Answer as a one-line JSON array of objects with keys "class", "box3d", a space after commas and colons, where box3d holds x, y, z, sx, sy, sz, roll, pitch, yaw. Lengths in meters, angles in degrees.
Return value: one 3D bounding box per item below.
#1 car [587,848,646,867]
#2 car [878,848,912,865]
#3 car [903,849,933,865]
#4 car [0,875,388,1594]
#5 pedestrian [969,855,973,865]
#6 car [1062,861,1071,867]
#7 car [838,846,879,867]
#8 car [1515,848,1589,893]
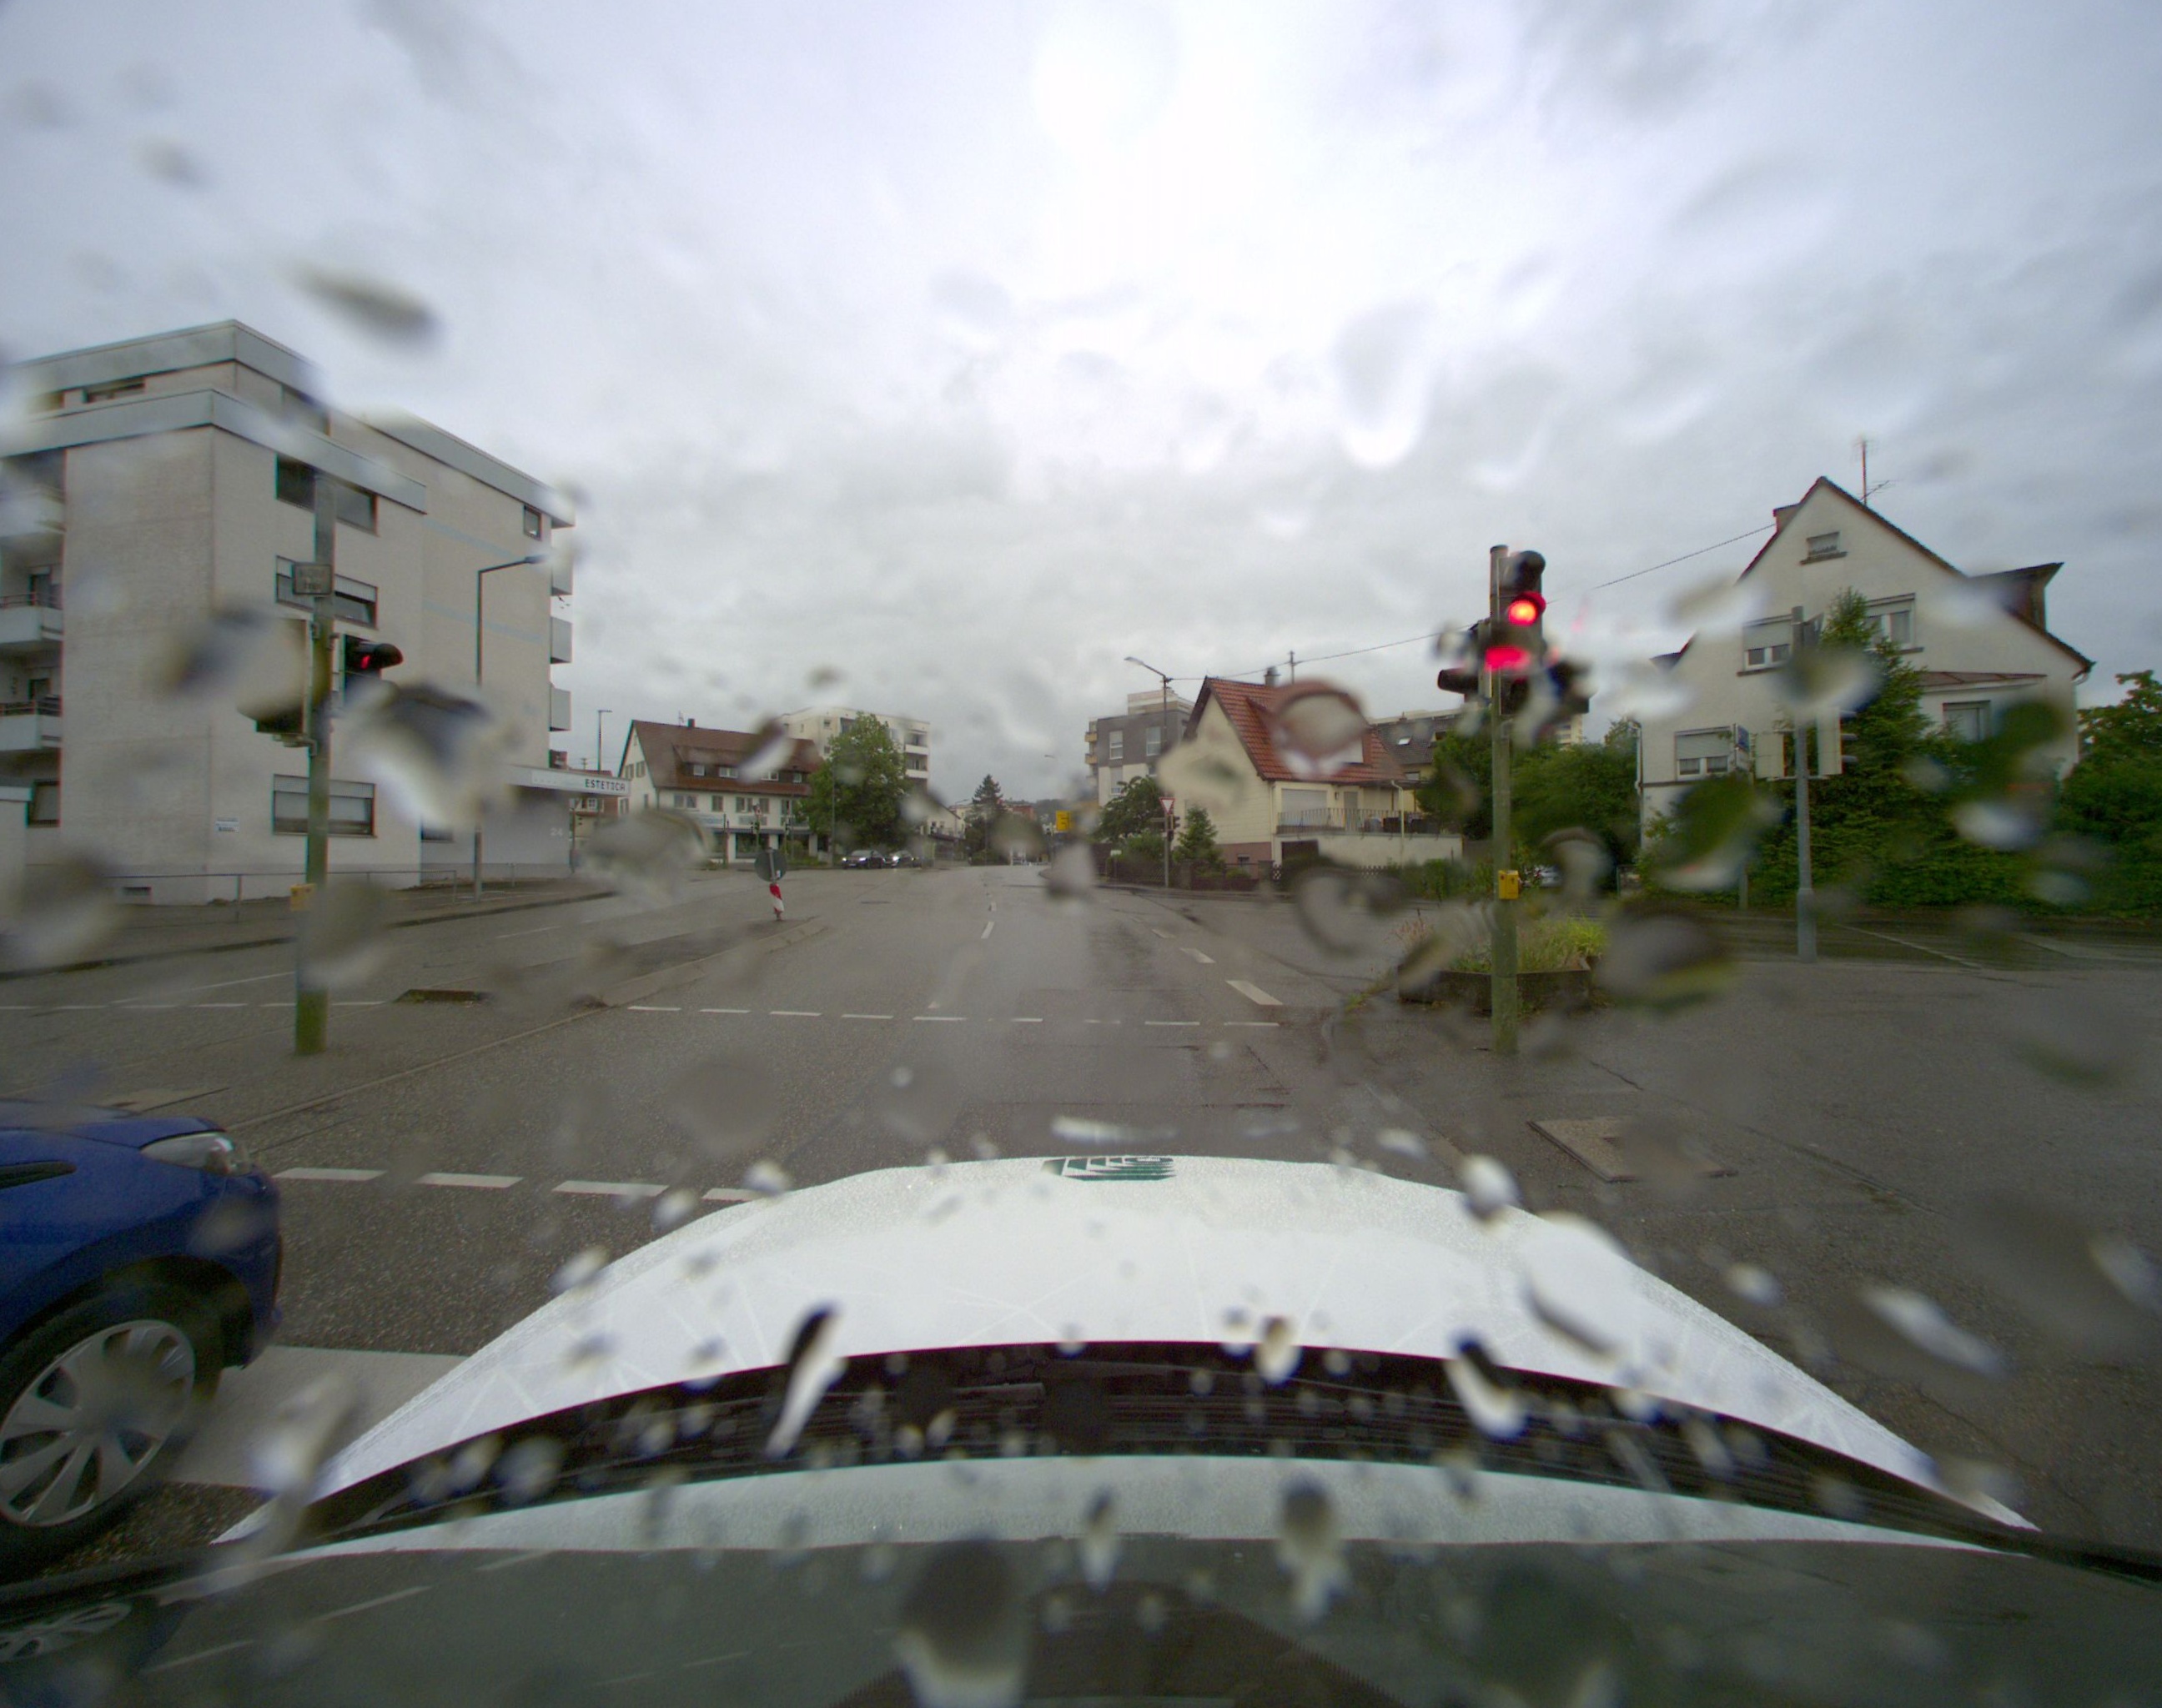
[{"class": "car", "box3d": [-38.316, 0.275, 67.205, 3.988, 1.572, 1.850, 0, 0, -42]}, {"class": "car", "box3d": [-15.056, 0.192, 66.216, 1.708, 1.387, 4.022, 0, 0, 2]}, {"class": "car", "box3d": [-14.400, 0.261, 72.243, 1.772, 1.420, 3.832, 0, 0, 2]}, {"class": "car", "box3d": [-2.980, 0.780, 0.881, 1.572, 1.410, 3.272, 0, 0, 2]}, {"class": "pedestrian", "box3d": [-18.418, 1.043, 136.208, 0.494, 1.658, 0.435, 0, 0, 7]}, {"class": "car", "box3d": [-3.482, 2.393, 193.572, 1.805, 1.486, 4.192, -1, 0, 3]}, {"class": "car", "box3d": [-16.033, 0.155, 58.891, 1.772, 1.420, 3.832, 0, 0, 2]}, {"class": "car", "box3d": [17.087, 0.535, 29.462, 1.723, 1.514, 4.025, 0, 0, 39]}]
